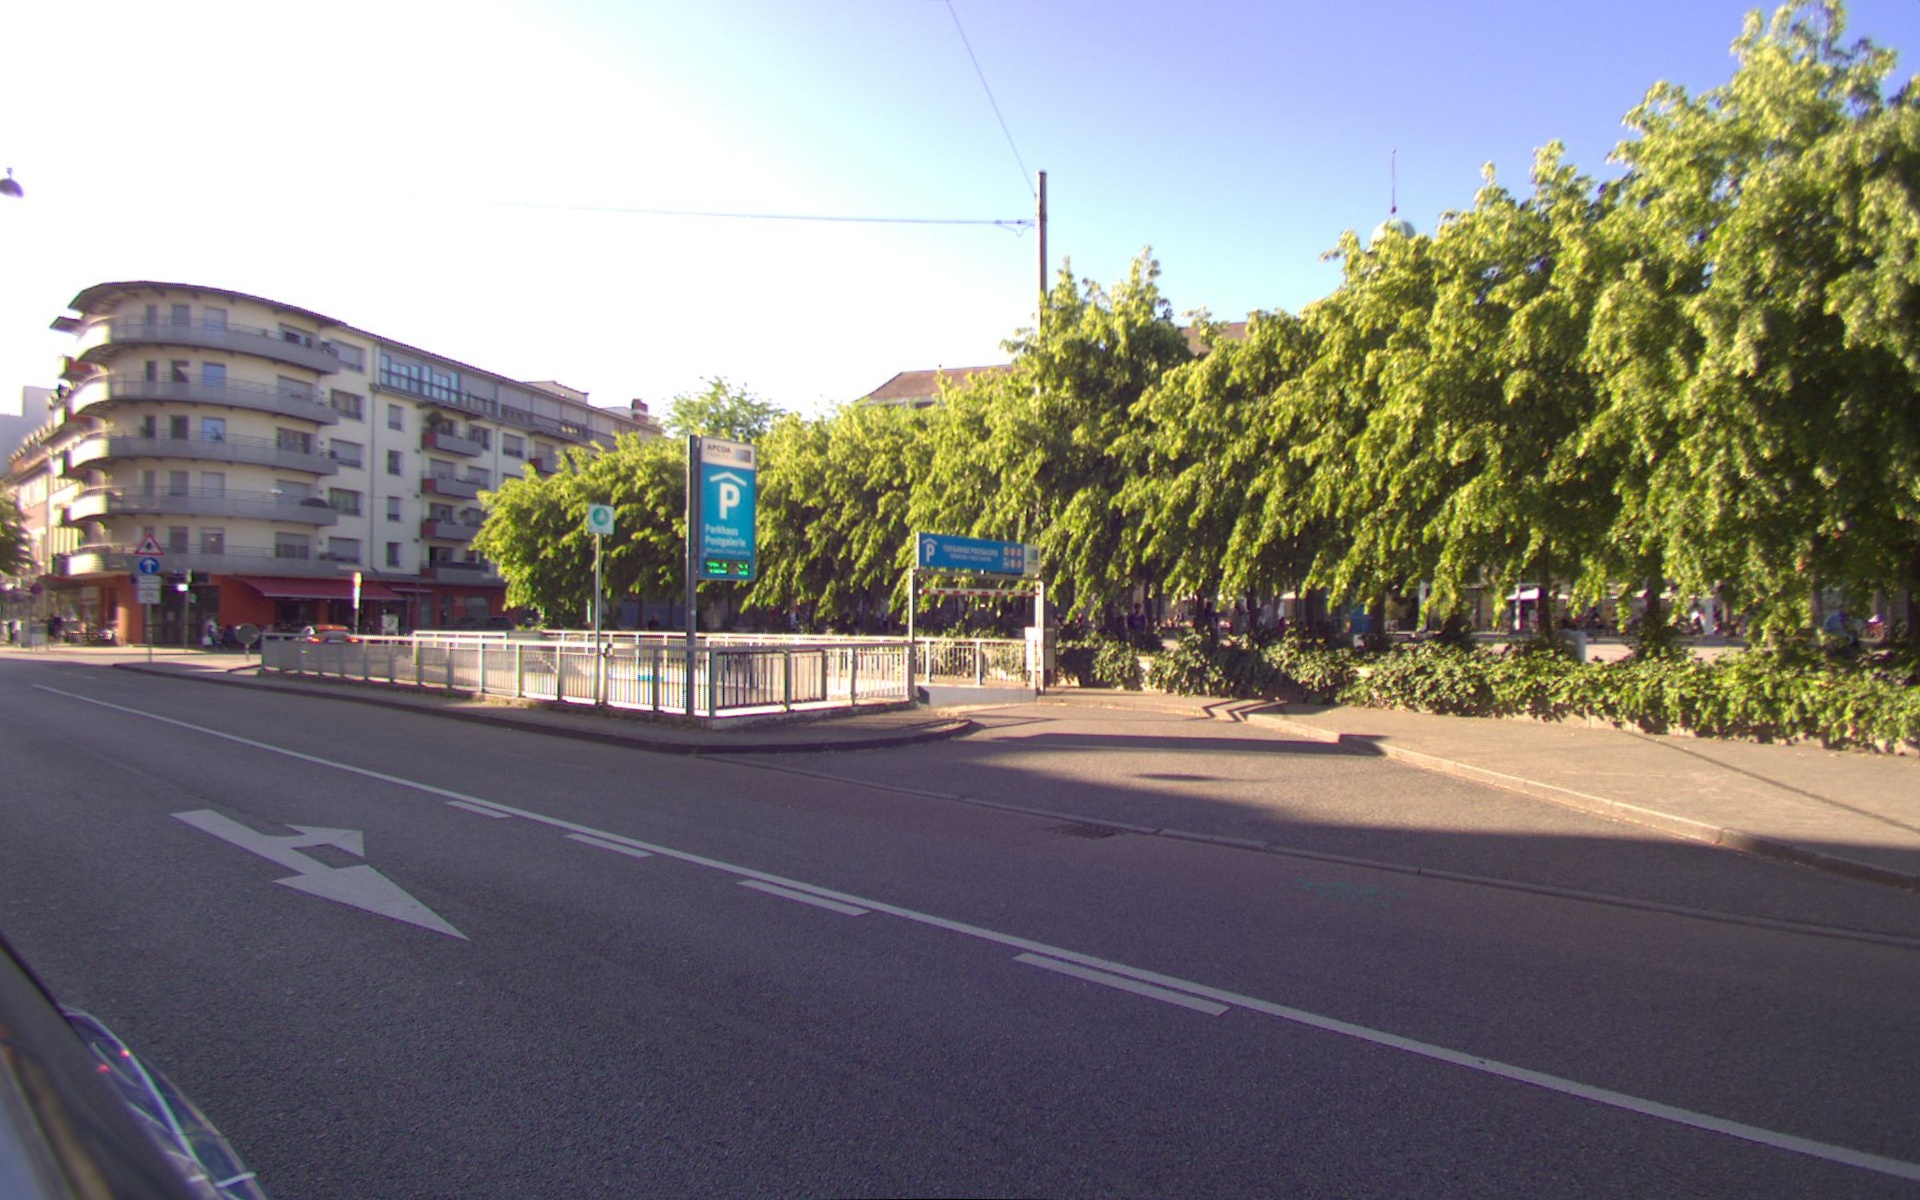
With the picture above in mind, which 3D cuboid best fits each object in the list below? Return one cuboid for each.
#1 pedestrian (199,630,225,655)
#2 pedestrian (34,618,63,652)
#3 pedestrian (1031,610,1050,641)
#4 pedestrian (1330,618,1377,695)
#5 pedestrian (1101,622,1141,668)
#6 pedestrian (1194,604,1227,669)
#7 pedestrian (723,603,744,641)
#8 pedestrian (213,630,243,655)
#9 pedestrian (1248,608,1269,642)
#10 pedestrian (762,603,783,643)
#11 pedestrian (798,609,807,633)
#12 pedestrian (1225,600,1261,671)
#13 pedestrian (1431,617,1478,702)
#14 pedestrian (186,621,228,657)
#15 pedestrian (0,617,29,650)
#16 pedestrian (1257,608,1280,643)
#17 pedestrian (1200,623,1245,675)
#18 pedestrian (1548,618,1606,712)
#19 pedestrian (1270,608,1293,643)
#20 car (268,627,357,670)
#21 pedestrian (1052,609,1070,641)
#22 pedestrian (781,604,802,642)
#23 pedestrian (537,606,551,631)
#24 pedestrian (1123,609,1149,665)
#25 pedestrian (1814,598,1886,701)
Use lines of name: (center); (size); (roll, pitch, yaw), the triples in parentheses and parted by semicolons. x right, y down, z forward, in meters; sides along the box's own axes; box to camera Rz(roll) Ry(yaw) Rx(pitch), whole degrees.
pedestrian: (-37.640, 2.145, 50.951); (0.882, 1.207, 0.772); (-1, 0, 30)
pedestrian: (-48.178, 1.843, 53.485); (0.962, 1.762, 1.047); (-1, 0, 41)
pedestrian: (3.576, 1.124, 44.861); (0.752, 1.385, 0.684); (-1, 0, 1)
pedestrian: (7.521, 1.065, 19.353); (0.622, 1.409, 0.644); (-1, 0, 44)
pedestrian: (3.969, 1.097, 25.000); (0.682, 1.079, 0.686); (-1, 0, -29)
pedestrian: (5.927, 0.855, 23.955); (0.688, 1.511, 0.680); (-1, 0, 19)
pedestrian: (-11.290, 1.089, 50.455); (0.679, 1.857, 0.743); (-1, 0, 19)
pedestrian: (-36.819, 2.134, 50.906); (0.827, 1.207, 0.931); (-1, 0, 16)
pedestrian: (13.689, 1.149, 46.484); (0.673, 1.535, 0.695); (-1, 0, -7)
pedestrian: (-9.060, 1.108, 48.965); (0.681, 1.877, 0.741); (-1, 0, 27)
pedestrian: (-10.686, 1.412, 68.654); (0.489, 1.591, 0.491); (-1, 0, 16)
pedestrian: (6.491, 0.806, 23.220); (0.518, 1.594, 0.685); (-1, 0, -10)
pedestrian: (8.748, 1.030, 17.906); (0.621, 1.447, 0.645); (-1, 0, 39)
pedestrian: (-37.069, 1.912, 49.809); (1.253, 1.678, 1.142); (-1, 0, -7)
pedestrian: (-50.918, 1.794, 54.474); (1.079, 1.732, 1.056); (-1, 0, 38)
pedestrian: (13.942, 1.146, 45.707); (0.672, 1.542, 0.696); (-1, 0, -18)
pedestrian: (5.782, 1.069, 22.310); (0.682, 1.079, 0.686); (-1, 0, -13)
pedestrian: (9.804, 1.017, 16.097); (0.611, 1.447, 0.588); (-1, 0, 14)
pedestrian: (14.309, 1.141, 45.062); (0.672, 1.536, 0.696); (-1, 0, -19)
car: (-25.086, 1.882, 39.152); (4.245, 1.542, 1.655); (-3, -4, 39)
pedestrian: (4.471, 1.112, 44.825); (0.684, 1.385, 0.684); (-1, 0, 1)
pedestrian: (-8.284, 1.108, 49.729); (0.681, 1.857, 0.741); (-1, 0, 27)
pedestrian: (-31.242, 1.407, 76.003); (0.684, 1.857, 0.737); (-1, 0, 41)
pedestrian: (4.502, 0.936, 25.829); (0.545, 1.385, 0.680); (-1, 0, 19)
pedestrian: (13.651, 0.744, 15.542); (0.691, 1.532, 0.677); (-1, 0, 30)
